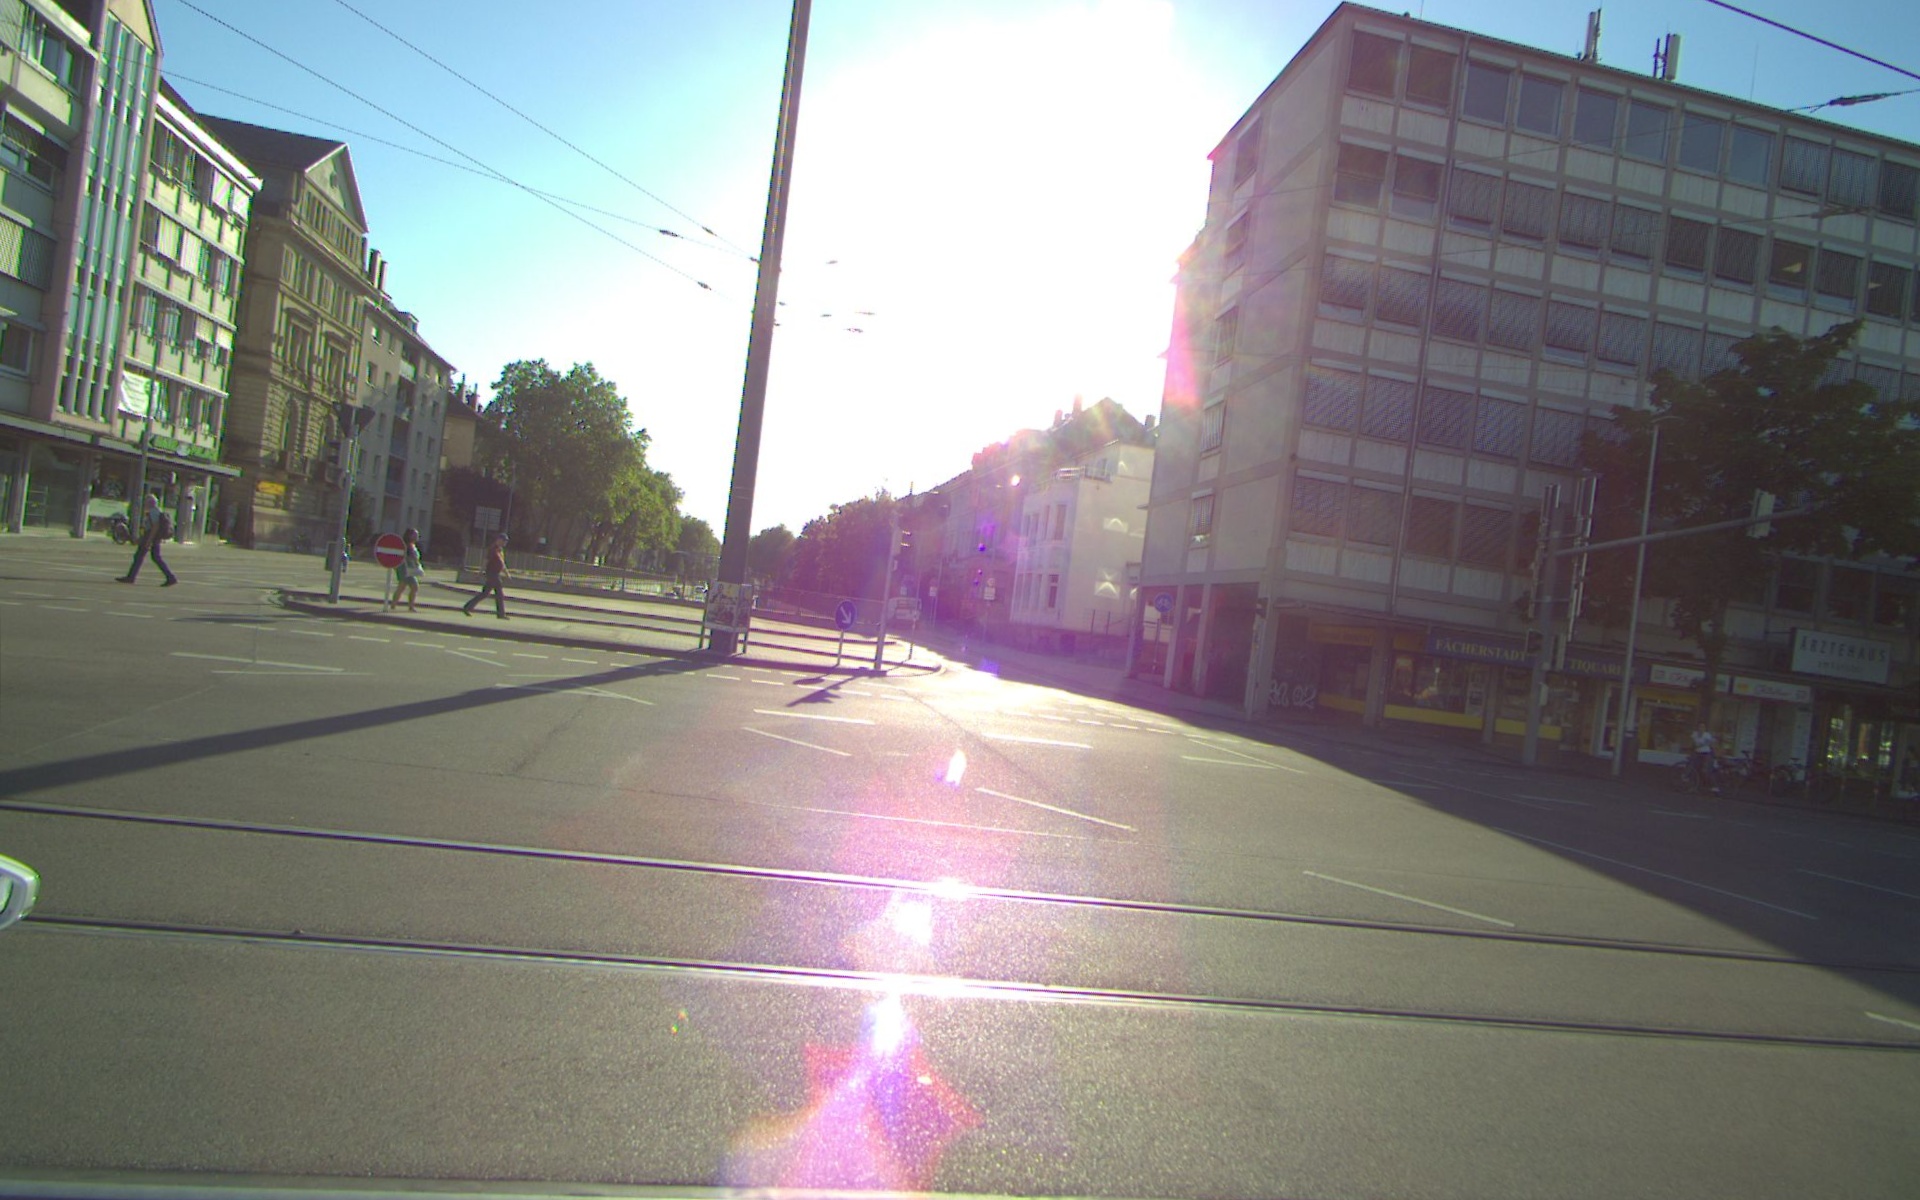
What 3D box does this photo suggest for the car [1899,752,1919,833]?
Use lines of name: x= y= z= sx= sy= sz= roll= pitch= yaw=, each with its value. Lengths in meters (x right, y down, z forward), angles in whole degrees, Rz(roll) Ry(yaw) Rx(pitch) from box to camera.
car: x=21.927 y=4.328 z=20.523 sx=4.014 sy=1.636 sz=1.841 roll=9 pitch=-1 yaw=-9

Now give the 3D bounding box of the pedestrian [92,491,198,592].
pedestrian: x=-15.976 y=-1.132 z=19.765 sx=1.181 sy=1.751 sz=0.853 roll=9 pitch=0 yaw=-18

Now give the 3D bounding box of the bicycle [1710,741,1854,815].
bicycle: x=20.334 y=4.375 z=24.978 sx=0.741 sy=1.157 sz=2.627 roll=9 pitch=1 yaw=-19

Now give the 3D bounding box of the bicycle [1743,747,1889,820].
bicycle: x=21.452 y=4.577 z=25.309 sx=0.741 sy=1.157 sz=2.627 roll=9 pitch=1 yaw=-19

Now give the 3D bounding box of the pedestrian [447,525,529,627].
pedestrian: x=-9.801 y=-0.498 z=20.939 sx=1.181 sy=1.906 sz=0.853 roll=9 pitch=0 yaw=-18

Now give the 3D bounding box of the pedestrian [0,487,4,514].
pedestrian: x=-17.042 y=-1.248 z=17.183 sx=0.851 sy=1.480 sz=0.678 roll=9 pitch=-5 yaw=-43

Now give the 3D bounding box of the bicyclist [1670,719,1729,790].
bicyclist: x=16.916 y=3.522 z=23.020 sx=0.671 sy=1.440 sz=0.669 roll=9 pitch=0 yaw=-15

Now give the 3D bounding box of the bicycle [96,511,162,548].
bicycle: x=-30.558 y=-2.588 z=37.044 sx=0.444 sy=1.083 sz=2.093 roll=9 pitch=-1 yaw=3

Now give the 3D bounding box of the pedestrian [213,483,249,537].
pedestrian: x=-34.988 y=-4.308 z=48.321 sx=0.918 sy=2.426 sz=0.955 roll=9 pitch=0 yaw=-24

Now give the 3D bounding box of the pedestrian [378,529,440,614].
pedestrian: x=-10.363 y=-0.532 z=18.945 sx=0.697 sy=1.470 sz=0.853 roll=9 pitch=0 yaw=-18

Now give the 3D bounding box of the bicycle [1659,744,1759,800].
bicycle: x=17.182 y=3.945 z=23.088 sx=2.001 sy=0.951 sz=0.669 roll=10 pitch=-1 yaw=-15

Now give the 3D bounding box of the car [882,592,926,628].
car: x=-4.223 y=0.706 z=74.880 sx=2.257 sy=2.197 sz=4.823 roll=9 pitch=-1 yaw=-12

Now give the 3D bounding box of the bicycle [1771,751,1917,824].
bicycle: x=22.418 y=4.744 z=25.611 sx=0.741 sy=1.157 sz=2.627 roll=9 pitch=1 yaw=-19
